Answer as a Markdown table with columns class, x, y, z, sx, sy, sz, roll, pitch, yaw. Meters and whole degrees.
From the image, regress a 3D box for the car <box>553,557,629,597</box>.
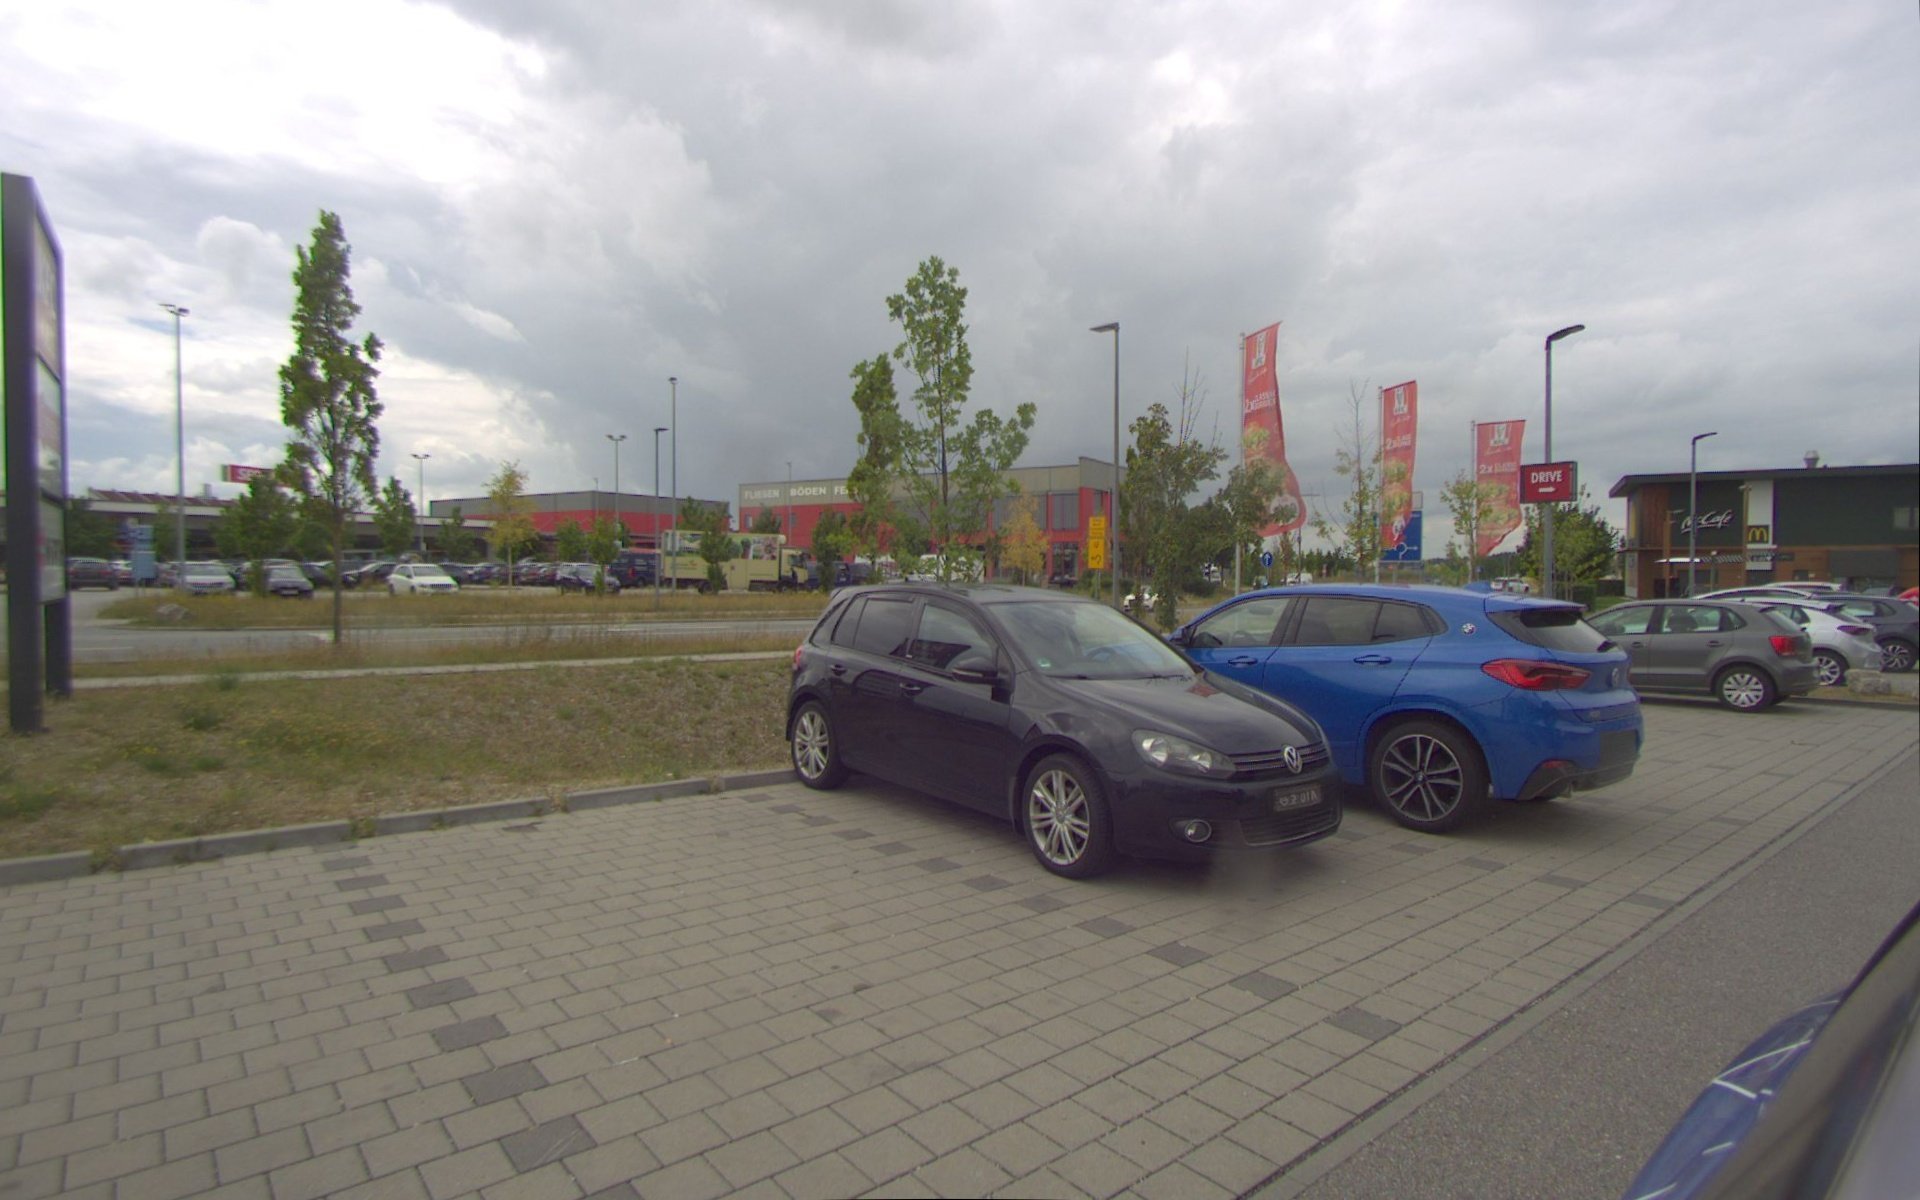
| class | x | y | z | sx | sy | sz | roll | pitch | yaw |
| --- | --- | --- | --- | --- | --- | --- | --- | --- | --- |
| car | -18.099 | -1.159 | 49.547 | 1.900 | 1.793 | 4.311 | -1 | 3 | -44 |

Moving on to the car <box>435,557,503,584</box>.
| class | x | y | z | sx | sy | sz | roll | pitch | yaw |
| --- | --- | --- | --- | --- | --- | --- | --- | --- | --- |
| car | -36.117 | -2.177 | 74.511 | 1.987 | 1.860 | 4.135 | 3 | 3 | 34 |

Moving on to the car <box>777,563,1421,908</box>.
| class | x | y | z | sx | sy | sz | roll | pitch | yaw |
| --- | --- | --- | --- | --- | --- | --- | --- | --- | --- |
| car | 0.541 | 0.535 | 6.503 | 1.743 | 1.478 | 4.074 | 0 | 1 | -37 |

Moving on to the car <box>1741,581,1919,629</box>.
| class | x | y | z | sx | sy | sz | roll | pitch | yaw |
| --- | --- | --- | --- | --- | --- | --- | --- | --- | --- |
| car | 27.067 | 0.164 | 31.656 | 4.043 | 1.430 | 1.865 | -1 | 0 | 35 |

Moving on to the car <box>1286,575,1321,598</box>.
| class | x | y | z | sx | sy | sz | roll | pitch | yaw |
| --- | --- | --- | --- | --- | --- | --- | --- | --- | --- |
| car | 28.398 | -1.177 | 83.634 | 1.984 | 1.726 | 3.957 | 2 | 3 | 31 |

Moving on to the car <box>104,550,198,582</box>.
| class | x | y | z | sx | sy | sz | roll | pitch | yaw |
| --- | --- | --- | --- | --- | --- | --- | --- | --- | --- |
| car | -49.226 | -2.049 | 61.640 | 1.987 | 1.860 | 4.135 | 3 | 3 | 35 |

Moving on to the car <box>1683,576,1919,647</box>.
| class | x | y | z | sx | sy | sz | roll | pitch | yaw |
| --- | --- | --- | --- | --- | --- | --- | --- | --- | --- |
| car | 20.368 | 0.268 | 24.479 | 4.526 | 1.560 | 1.897 | -1 | 0 | 42 |

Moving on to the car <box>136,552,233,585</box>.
| class | x | y | z | sx | sy | sz | roll | pitch | yaw |
| --- | --- | --- | --- | --- | --- | --- | --- | --- | --- |
| car | -45.198 | -1.829 | 59.041 | 1.987 | 1.860 | 4.135 | 3 | 3 | 35 |

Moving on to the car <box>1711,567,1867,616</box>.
| class | x | y | z | sx | sy | sz | roll | pitch | yaw |
| --- | --- | --- | --- | --- | --- | --- | --- | --- | --- |
| car | 31.049 | -0.294 | 38.094 | 4.343 | 1.734 | 1.968 | -1 | 0 | 35 |

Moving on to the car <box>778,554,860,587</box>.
| class | x | y | z | sx | sy | sz | roll | pitch | yaw |
| --- | --- | --- | --- | --- | --- | --- | --- | --- | --- |
| car | -8.530 | -1.771 | 61.083 | 5.044 | 1.908 | 2.049 | 1 | 1 | 39 |

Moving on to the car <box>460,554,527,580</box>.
| class | x | y | z | sx | sy | sz | roll | pitch | yaw |
| --- | --- | --- | --- | --- | --- | --- | --- | --- | --- |
| car | -33.618 | -2.399 | 73.033 | 1.987 | 1.793 | 3.952 | 3 | 3 | 34 |

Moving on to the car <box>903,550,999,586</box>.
| class | x | y | z | sx | sy | sz | roll | pitch | yaw |
| --- | --- | --- | --- | --- | --- | --- | --- | --- | --- |
| car | -0.679 | -2.267 | 70.725 | 6.453 | 2.295 | 2.321 | 3 | 3 | 31 |

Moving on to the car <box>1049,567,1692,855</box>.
| class | x | y | z | sx | sy | sz | roll | pitch | yaw |
| --- | --- | --- | --- | --- | --- | --- | --- | --- | --- |
| car | 2.785 | 0.557 | 7.723 | 1.831 | 1.564 | 4.212 | -1 | 1 | -38 |

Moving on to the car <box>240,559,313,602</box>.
| class | x | y | z | sx | sy | sz | roll | pitch | yaw |
| --- | --- | --- | --- | --- | --- | --- | --- | --- | --- |
| car | -27.462 | -0.812 | 40.635 | 1.743 | 1.558 | 4.045 | -1 | 3 | -44 |

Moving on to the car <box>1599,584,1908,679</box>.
| class | x | y | z | sx | sy | sz | roll | pitch | yaw |
| --- | --- | --- | --- | --- | --- | --- | --- | --- | --- |
| car | 13.465 | 0.481 | 17.329 | 1.809 | 1.430 | 3.930 | -1 | 0 | -43 |

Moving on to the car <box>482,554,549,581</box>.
| class | x | y | z | sx | sy | sz | roll | pitch | yaw |
| --- | --- | --- | --- | --- | --- | --- | --- | --- | --- |
| car | -31.291 | -2.269 | 71.322 | 1.986 | 1.793 | 3.953 | 3 | 3 | 33 |

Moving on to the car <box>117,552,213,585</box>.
| class | x | y | z | sx | sy | sz | roll | pitch | yaw |
| --- | --- | --- | --- | --- | --- | --- | --- | --- | --- |
| car | -47.348 | -1.858 | 60.366 | 1.987 | 1.860 | 4.135 | 3 | 3 | 35 |

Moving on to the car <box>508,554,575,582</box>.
| class | x | y | z | sx | sy | sz | roll | pitch | yaw |
| --- | --- | --- | --- | --- | --- | --- | --- | --- | --- |
| car | -28.912 | -2.221 | 69.989 | 1.984 | 1.793 | 3.958 | 3 | 3 | 30 |

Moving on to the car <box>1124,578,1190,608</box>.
| class | x | y | z | sx | sy | sz | roll | pitch | yaw |
| --- | --- | --- | --- | --- | --- | --- | --- | --- | --- |
| car | 10.374 | -0.337 | 53.064 | 1.746 | 1.510 | 4.073 | 1 | 0 | 38 |

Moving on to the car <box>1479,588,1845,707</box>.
| class | x | y | z | sx | sy | sz | roll | pitch | yaw |
| --- | --- | --- | --- | --- | --- | --- | --- | --- | --- |
| car | 9.795 | 0.578 | 14.370 | 1.698 | 1.446 | 3.992 | -1 | 0 | -41 |

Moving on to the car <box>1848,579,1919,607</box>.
| class | x | y | z | sx | sy | sz | roll | pitch | yaw |
| --- | --- | --- | --- | --- | --- | --- | --- | --- | --- |
| car | 55.577 | -0.413 | 60.714 | 3.822 | 1.604 | 1.755 | 0 | 2 | -19 |

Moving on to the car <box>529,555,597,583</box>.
| class | x | y | z | sx | sy | sz | roll | pitch | yaw |
| --- | --- | --- | --- | --- | --- | --- | --- | --- | --- |
| car | -26.918 | -2.132 | 68.772 | 1.984 | 1.793 | 3.958 | 3 | 3 | 30 |

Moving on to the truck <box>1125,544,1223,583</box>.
| class | x | y | z | sx | sy | sz | roll | pitch | yaw |
| --- | --- | --- | --- | --- | --- | --- | --- | --- | --- |
| truck | 27.384 | -4.741 | 130.032 | 11.932 | 4.553 | 3.718 | 3 | 3 | 37 |

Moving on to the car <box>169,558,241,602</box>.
| class | x | y | z | sx | sy | sz | roll | pitch | yaw |
| --- | --- | --- | --- | --- | --- | --- | --- | --- | --- |
| car | -29.445 | -0.803 | 39.417 | 1.743 | 1.558 | 4.045 | -1 | 3 | -44 |

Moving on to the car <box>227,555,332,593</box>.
| class | x | y | z | sx | sy | sz | roll | pitch | yaw |
| --- | --- | --- | --- | --- | --- | --- | --- | --- | --- |
| car | -35.586 | -1.352 | 52.998 | 1.987 | 1.860 | 4.135 | 3 | 3 | 35 |

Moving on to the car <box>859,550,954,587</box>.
| class | x | y | z | sx | sy | sz | roll | pitch | yaw |
| --- | --- | --- | --- | --- | --- | --- | --- | --- | --- |
| car | -3.587 | -2.103 | 66.990 | 6.015 | 2.241 | 2.388 | 3 | 2 | 33 |

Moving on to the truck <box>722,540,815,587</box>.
| class | x | y | z | sx | sy | sz | roll | pitch | yaw |
| --- | --- | --- | --- | --- | --- | --- | --- | --- | --- |
| truck | -16.369 | -3.154 | 86.326 | 8.192 | 3.789 | 2.627 | 3 | 3 | 32 |

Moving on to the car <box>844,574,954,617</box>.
| class | x | y | z | sx | sy | sz | roll | pitch | yaw |
| --- | --- | --- | --- | --- | --- | --- | --- | --- | --- |
| car | -2.262 | -0.157 | 38.265 | 1.749 | 1.510 | 4.065 | 1 | 0 | 43 |

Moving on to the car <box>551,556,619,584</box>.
| class | x | y | z | sx | sy | sz | roll | pitch | yaw |
| --- | --- | --- | --- | --- | --- | --- | --- | --- | --- |
| car | -24.950 | -2.014 | 67.401 | 1.982 | 1.793 | 3.961 | 2 | 3 | 28 |

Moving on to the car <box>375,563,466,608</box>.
| class | x | y | z | sx | sy | sz | roll | pitch | yaw |
| --- | --- | --- | --- | --- | --- | --- | --- | --- | --- |
| car | -23.778 | -0.690 | 44.525 | 4.298 | 1.793 | 1.973 | 3 | 3 | 38 |

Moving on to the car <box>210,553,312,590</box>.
| class | x | y | z | sx | sy | sz | roll | pitch | yaw |
| --- | --- | --- | --- | --- | --- | --- | --- | --- | --- |
| car | -37.648 | -1.549 | 54.562 | 1.987 | 1.860 | 4.135 | 3 | 3 | 35 |

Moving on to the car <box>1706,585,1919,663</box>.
| class | x | y | z | sx | sy | sz | roll | pitch | yaw |
| --- | --- | --- | --- | --- | --- | --- | --- | --- | --- |
| car | 17.358 | 0.454 | 20.183 | 3.795 | 1.430 | 1.711 | -1 | 0 | 44 |

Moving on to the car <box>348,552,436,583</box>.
| class | x | y | z | sx | sy | sz | roll | pitch | yaw |
| --- | --- | --- | --- | --- | --- | --- | --- | --- | --- |
| car | -34.478 | -1.974 | 61.543 | 1.987 | 1.793 | 4.269 | 3 | 3 | 34 |

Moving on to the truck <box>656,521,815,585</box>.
| class | x | y | z | sx | sy | sz | roll | pitch | yaw |
| --- | --- | --- | --- | --- | --- | --- | --- | --- | --- |
| truck | -12.487 | -2.579 | 56.238 | 8.254 | 3.235 | 3.037 | 0 | 2 | -20 |

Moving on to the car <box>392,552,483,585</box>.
| class | x | y | z | sx | sy | sz | roll | pitch | yaw |
| --- | --- | --- | --- | --- | --- | --- | --- | --- | --- |
| car | -30.112 | -1.803 | 58.438 | 1.985 | 1.793 | 4.272 | 3 | 3 | 32 |

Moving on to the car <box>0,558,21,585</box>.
| class | x | y | z | sx | sy | sz | roll | pitch | yaw |
| --- | --- | --- | --- | --- | --- | --- | --- | --- | --- |
| car | -66.667 | -1.947 | 68.617 | 1.987 | 1.860 | 4.135 | 3 | 3 | 35 |

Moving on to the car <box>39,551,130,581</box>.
| class | x | y | z | sx | sy | sz | roll | pitch | yaw |
| --- | --- | --- | --- | --- | --- | --- | --- | --- | --- |
| car | -56.715 | -2.179 | 65.614 | 1.987 | 1.860 | 4.135 | 3 | 3 | 35 |

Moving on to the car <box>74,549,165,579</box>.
| class | x | y | z | sx | sy | sz | roll | pitch | yaw |
| --- | --- | --- | --- | --- | --- | --- | --- | --- | --- |
| car | -53.878 | -2.301 | 64.904 | 1.987 | 1.860 | 4.135 | 3 | 3 | 35 |

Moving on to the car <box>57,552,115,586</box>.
| class | x | y | z | sx | sy | sz | roll | pitch | yaw |
| --- | --- | --- | --- | --- | --- | --- | --- | --- | --- |
| car | -42.723 | -1.549 | 49.543 | 1.964 | 1.558 | 4.157 | -1 | 3 | -39 |
